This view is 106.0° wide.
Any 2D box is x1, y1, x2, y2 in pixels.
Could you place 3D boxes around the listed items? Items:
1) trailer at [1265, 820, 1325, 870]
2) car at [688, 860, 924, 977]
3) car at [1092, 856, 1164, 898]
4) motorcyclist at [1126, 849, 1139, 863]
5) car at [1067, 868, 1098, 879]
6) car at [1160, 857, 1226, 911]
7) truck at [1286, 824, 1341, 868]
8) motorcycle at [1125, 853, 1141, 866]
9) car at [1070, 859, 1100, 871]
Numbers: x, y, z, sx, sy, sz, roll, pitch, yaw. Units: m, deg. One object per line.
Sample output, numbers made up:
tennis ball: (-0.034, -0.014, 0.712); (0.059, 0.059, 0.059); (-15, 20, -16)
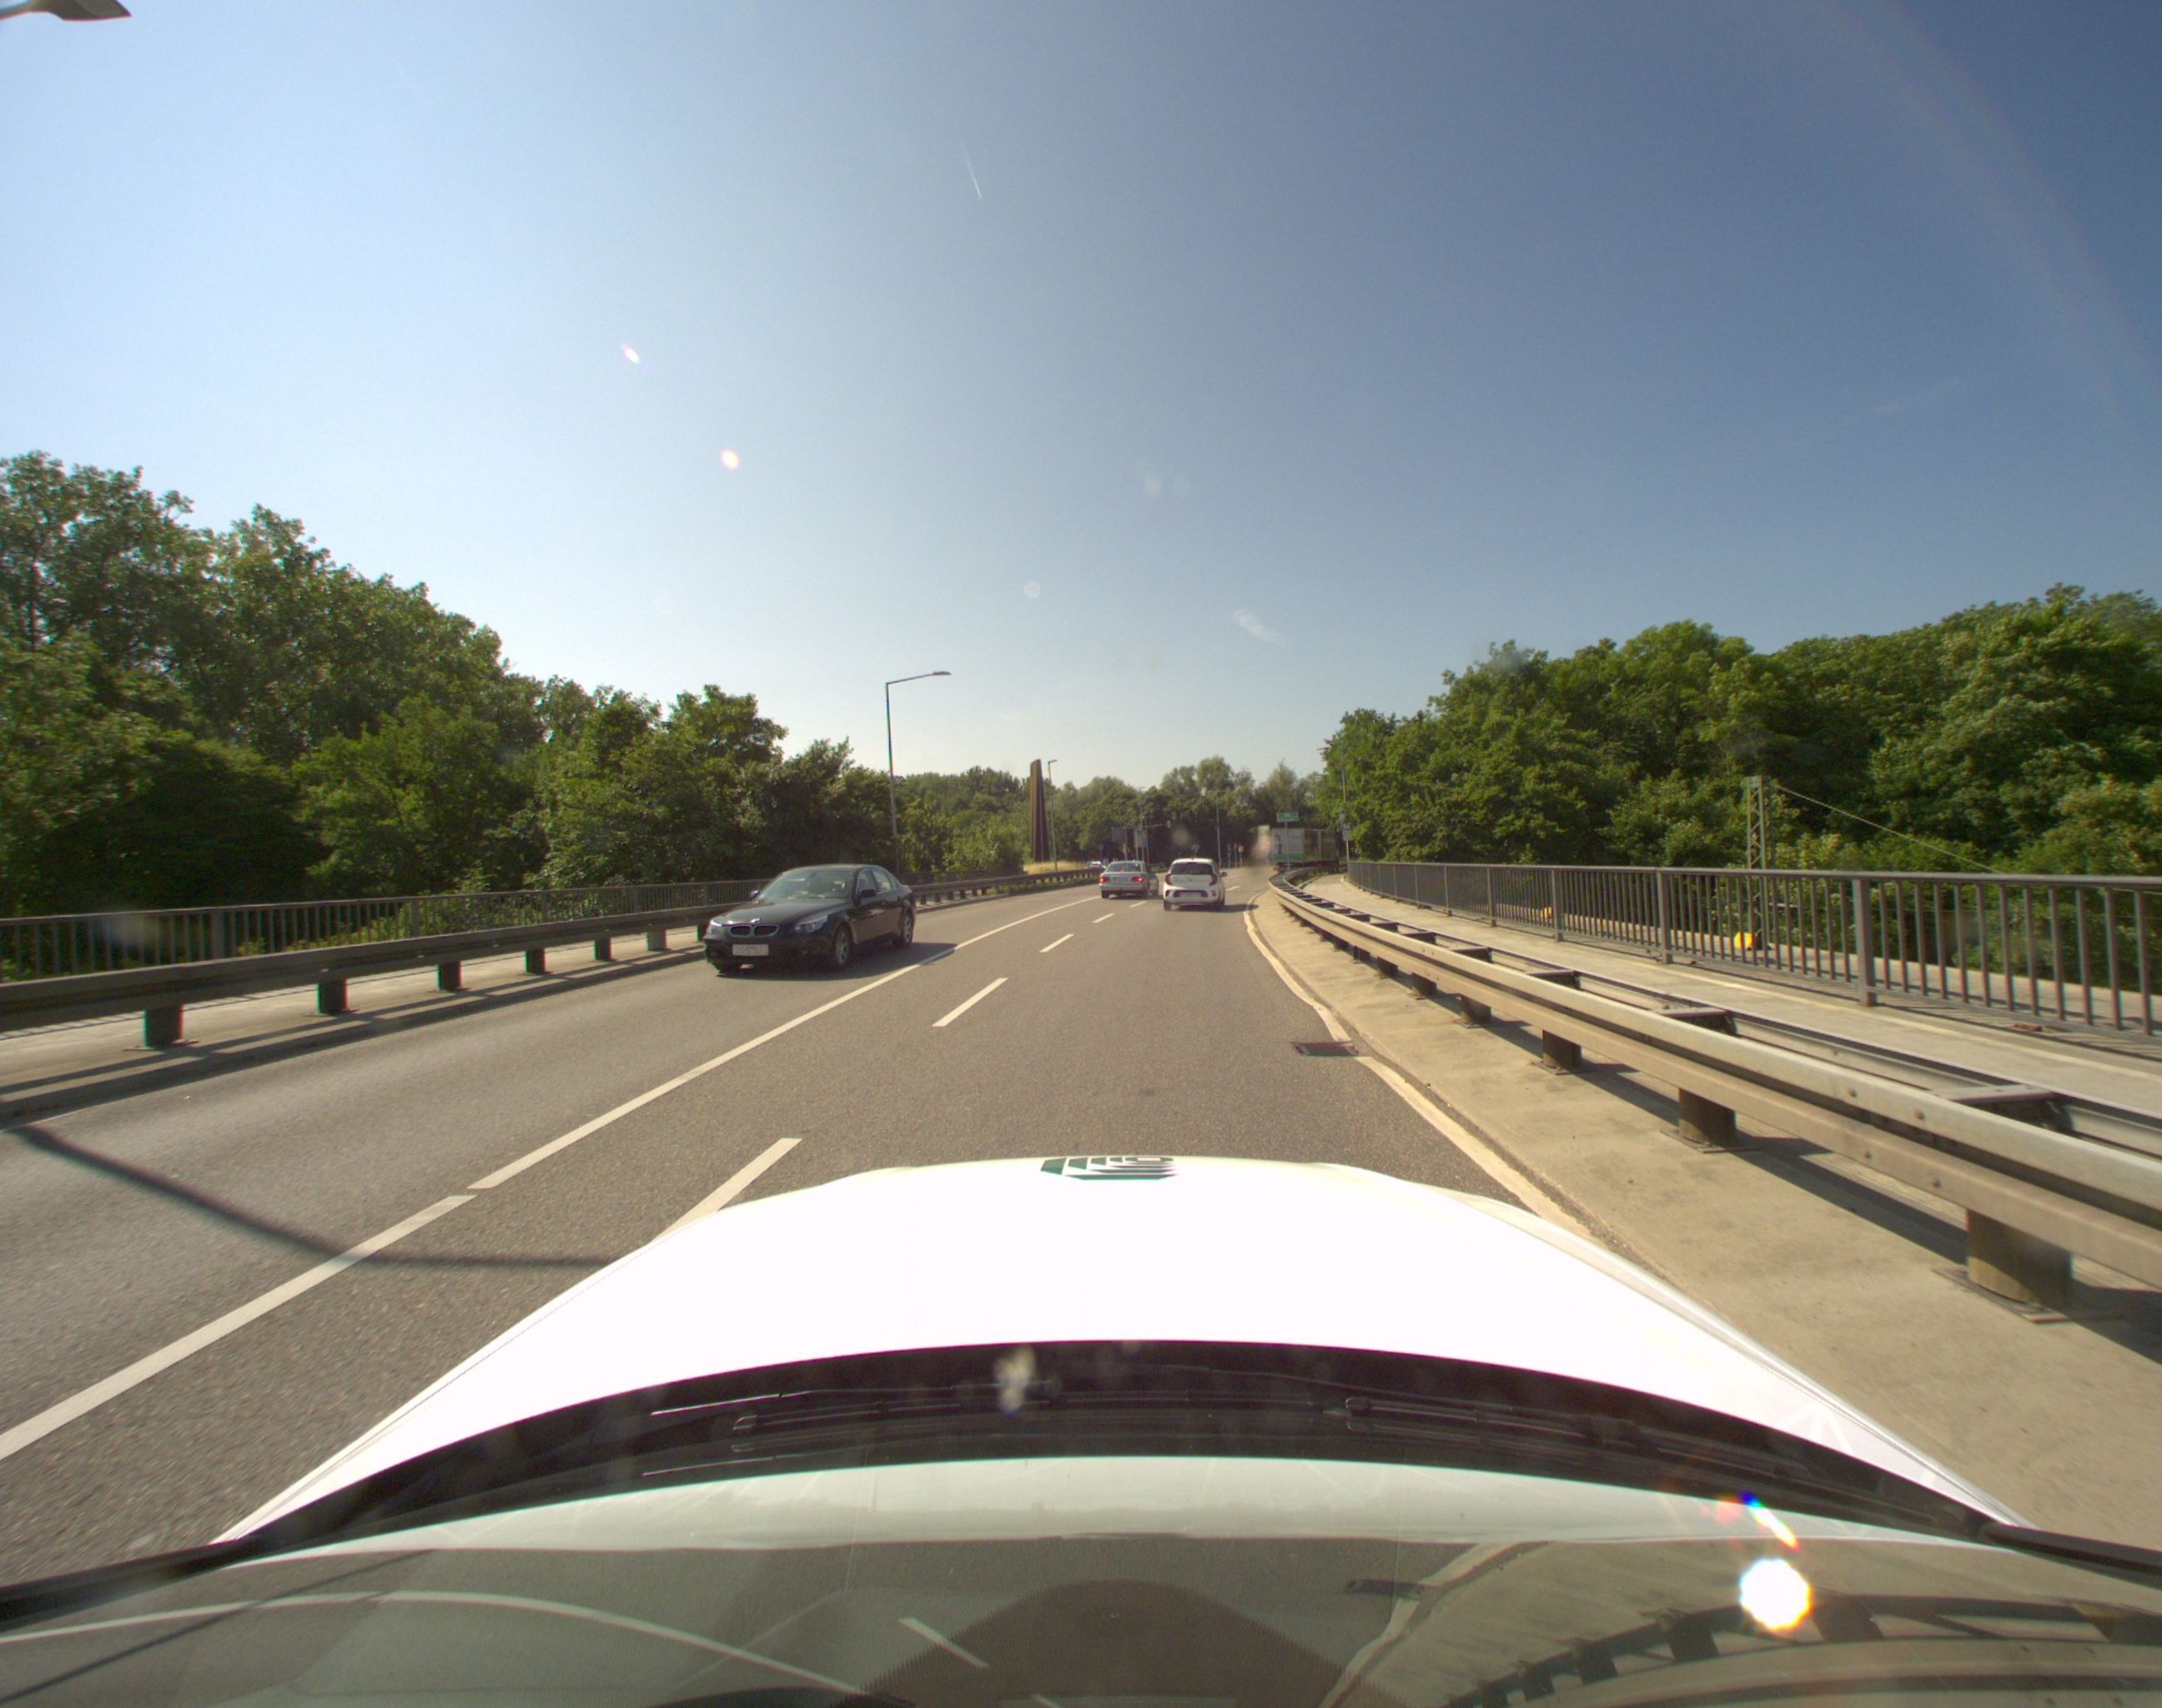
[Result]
trailer: (17.497, -0.704, 66.181); (3.195, 3.758, 7.870); (1, 0, 26)
car: (-3.993, 0.854, 12.770); (1.847, 1.442, 4.521); (-1, 0, 4)
car: (1.919, 0.832, 31.615); (1.925, 1.486, 4.918); (-1, 0, 13)
motorcyclist: (6.806, 0.262, 107.086); (0.897, 1.870, 1.446); (1, -2, -45)
car: (0.216, 2.711, 112.736); (2.135, 1.389, 3.951); (2, -6, -43)
car: (3.458, 0.838, 24.585); (1.690, 1.494, 4.013); (0, -1, 12)
truck: (21.066, -0.699, 73.452); (3.230, 3.758, 8.419); (1, 0, 26)
motorcycle: (6.817, 0.705, 107.058); (0.904, 1.529, 1.958); (1, -4, -45)
car: (0.517, 1.556, 111.250); (1.777, 1.389, 3.951); (2, -6, -43)
